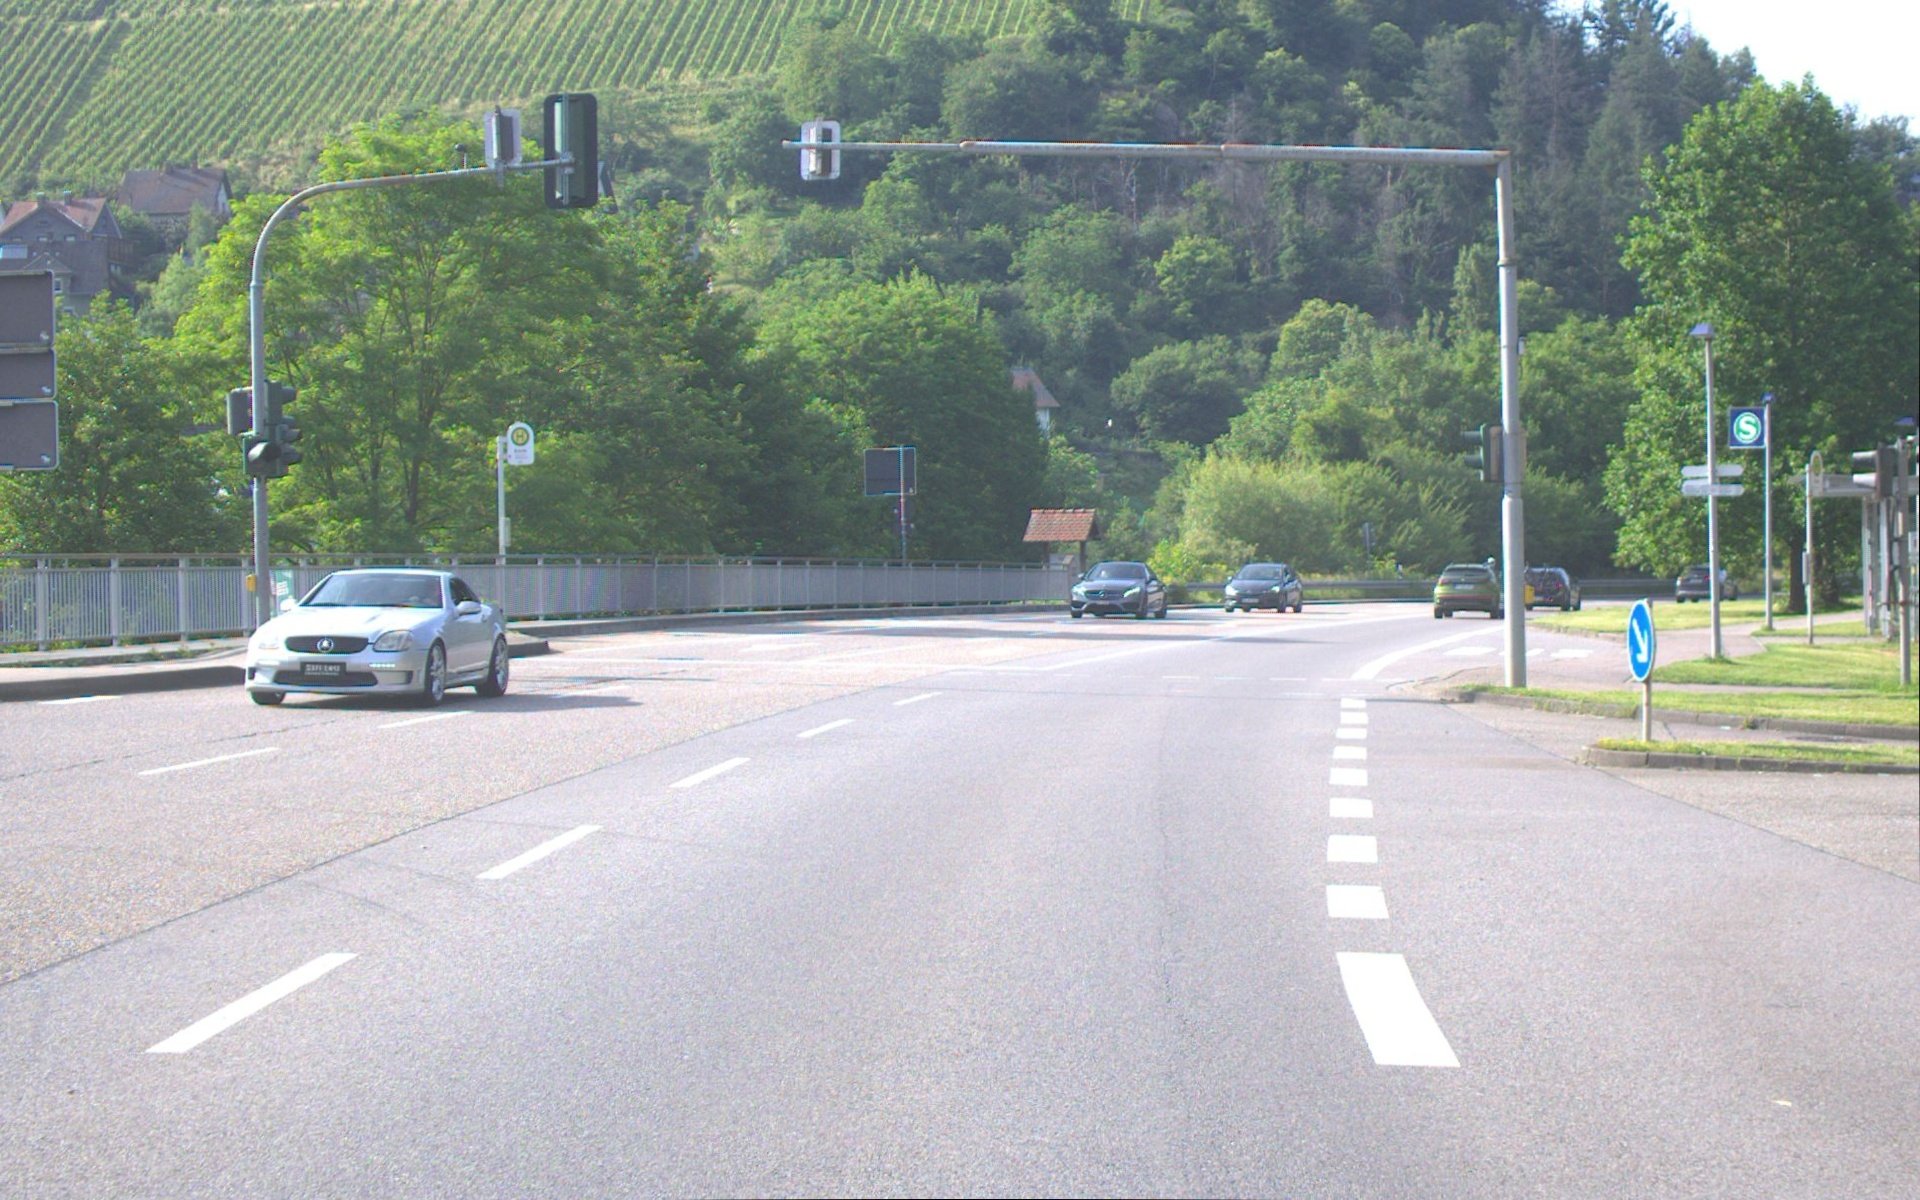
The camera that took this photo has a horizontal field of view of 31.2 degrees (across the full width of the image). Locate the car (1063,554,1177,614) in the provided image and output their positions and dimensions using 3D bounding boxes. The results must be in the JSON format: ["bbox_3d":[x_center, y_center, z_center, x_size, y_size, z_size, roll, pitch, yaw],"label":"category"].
[{"bbox_3d":[3.974,-0.403,84.765,1.772,1.373,4.641,2,1,15],"label":"car"}]

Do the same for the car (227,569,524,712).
[{"bbox_3d":[-5.447,0.336,32.536,1.646,1.227,4.093,0,1,7],"label":"car"}]

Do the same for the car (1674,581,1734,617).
[{"bbox_3d":[31.526,-0.060,145.591,1.809,1.448,3.643,-2,0,23],"label":"car"}]

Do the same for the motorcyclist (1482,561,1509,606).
[{"bbox_3d":[21.450,-0.672,137.696,0.845,1.778,1.170,1,1,19],"label":"motorcyclist"}]

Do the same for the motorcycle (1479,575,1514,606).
[{"bbox_3d":[21.491,-0.381,137.778,0.973,1.217,2.570,1,1,18],"label":"motorcycle"}]

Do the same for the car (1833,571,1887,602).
[{"bbox_3d":[43.798,-0.669,167.241,1.811,1.403,3.768,-2,0,26],"label":"car"}]

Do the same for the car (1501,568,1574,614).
[{"bbox_3d":[18.994,-0.304,113.044,1.841,1.454,3.710,-2,0,17],"label":"car"}]

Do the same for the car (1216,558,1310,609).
[{"bbox_3d":[9.086,-0.513,102.791,1.787,1.474,4.750,0,1,18],"label":"car"}]

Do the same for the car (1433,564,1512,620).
[{"bbox_3d":[13.969,-0.213,93.596,1.729,1.452,3.408,-2,0,14],"label":"car"}]
